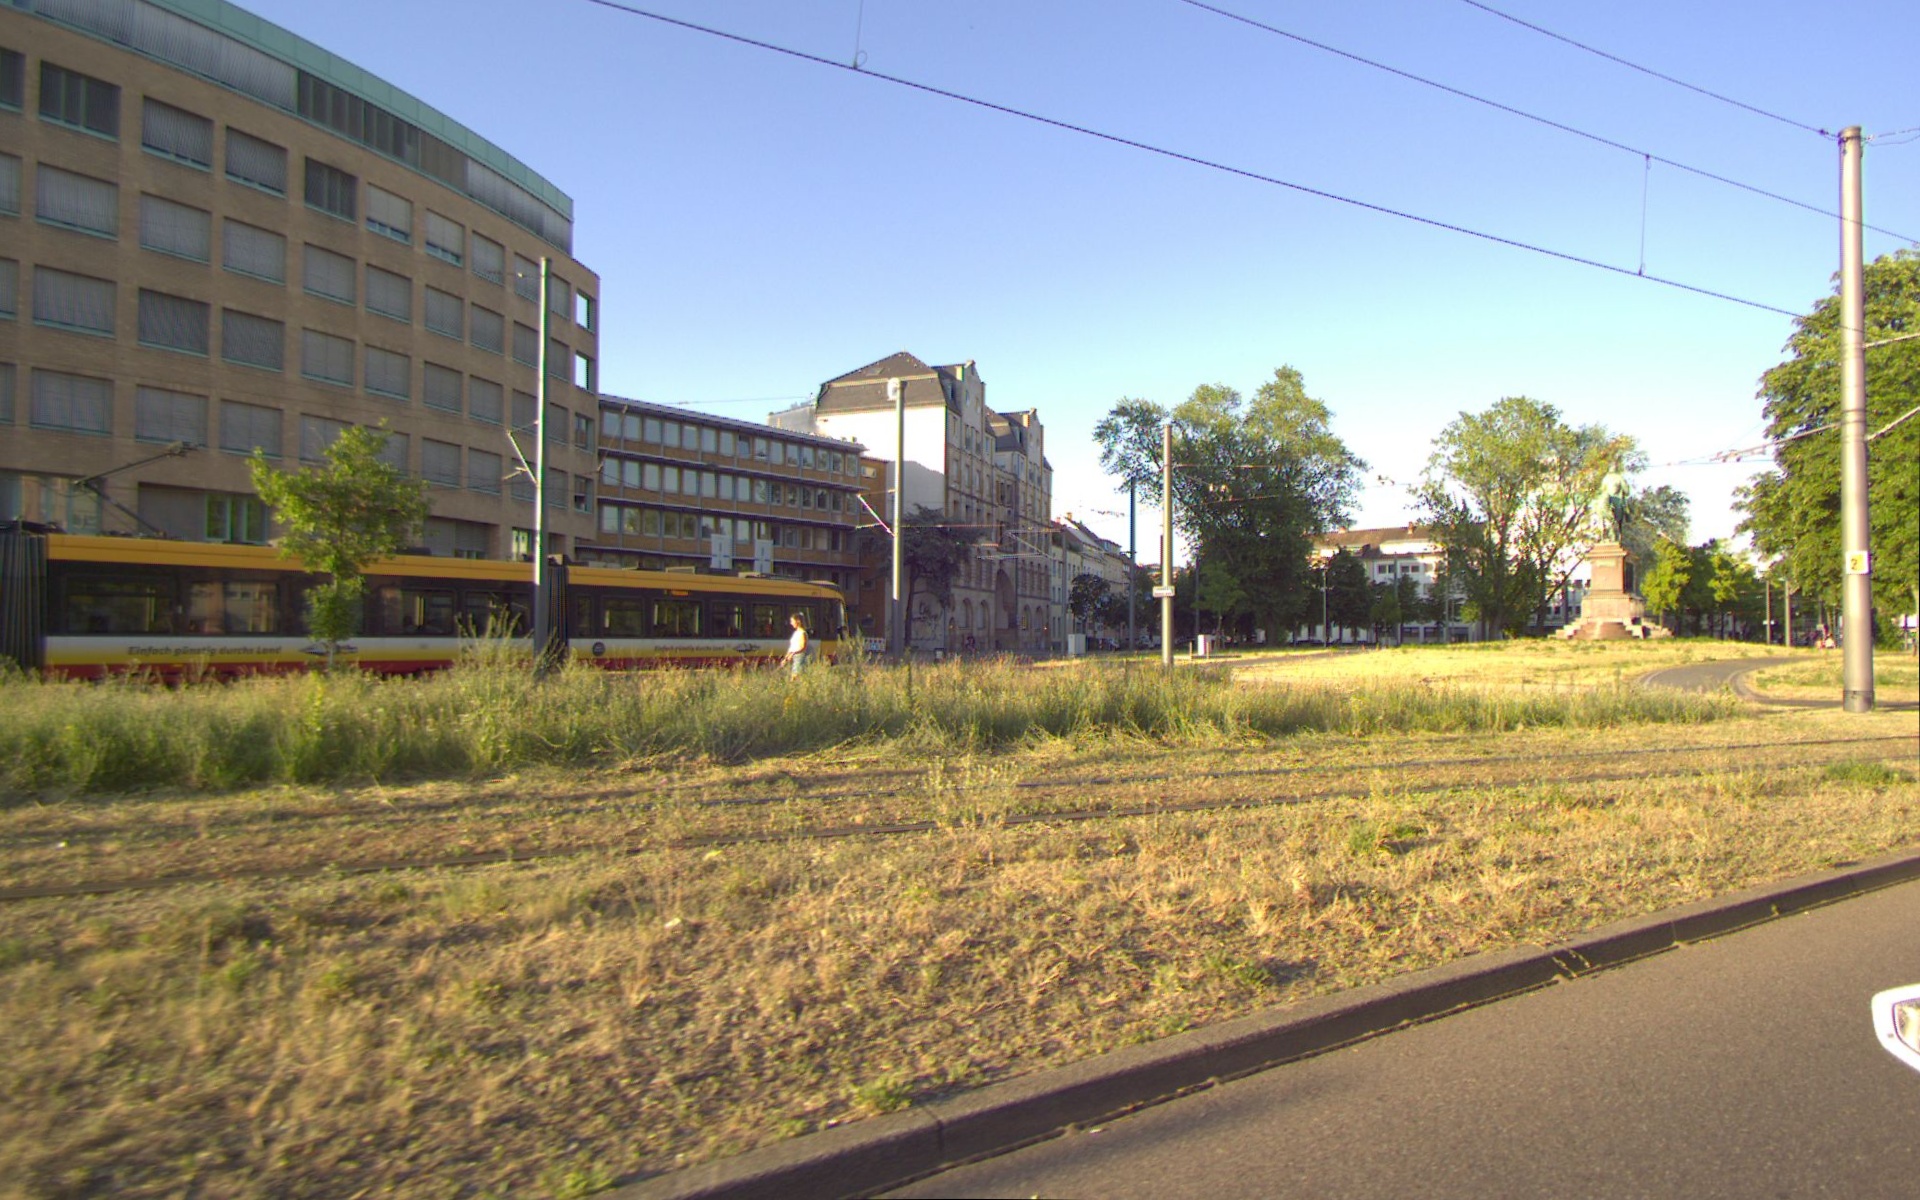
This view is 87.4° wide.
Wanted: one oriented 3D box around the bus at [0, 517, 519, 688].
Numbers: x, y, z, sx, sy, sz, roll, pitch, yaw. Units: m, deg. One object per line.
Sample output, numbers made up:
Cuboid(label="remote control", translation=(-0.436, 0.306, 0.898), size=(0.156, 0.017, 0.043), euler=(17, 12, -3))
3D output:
Cuboid(label="bus", translation=(-17.026, 0.154, 24.836), size=(3.706, 3.375, 10.682), euler=(0, -1, 41))

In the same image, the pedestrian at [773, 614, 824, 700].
Cuboid(label="pedestrian", translation=(-2.828, 0.985, 17.605), size=(0.691, 1.478, 0.667), euler=(1, -1, -28))

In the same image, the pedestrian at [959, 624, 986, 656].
Cuboid(label="pedestrian", translation=(0.860, 2.694, 68.082), size=(1.045, 2.122, 1.624), euler=(0, -1, 43))

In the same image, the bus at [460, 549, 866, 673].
Cuboid(label="bus", translation=(-9.296, 0.445, 34.271), size=(3.702, 3.407, 13.655), euler=(0, -1, 38))

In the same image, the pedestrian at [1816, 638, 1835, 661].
Cuboid(label="pedestrian", translation=(73.049, 4.144, 84.781), size=(0.982, 1.864, 0.859), euler=(-1, 0, -23))

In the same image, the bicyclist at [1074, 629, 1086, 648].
Cuboid(label="bicyclist", translation=(11.350, 3.650, 95.320), size=(0.934, 1.713, 0.898), euler=(0, -1, 21))

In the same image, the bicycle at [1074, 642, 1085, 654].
Cuboid(label="bicycle", translation=(11.340, 4.560, 95.251), size=(0.463, 1.024, 2.201), euler=(1, -1, 20))
